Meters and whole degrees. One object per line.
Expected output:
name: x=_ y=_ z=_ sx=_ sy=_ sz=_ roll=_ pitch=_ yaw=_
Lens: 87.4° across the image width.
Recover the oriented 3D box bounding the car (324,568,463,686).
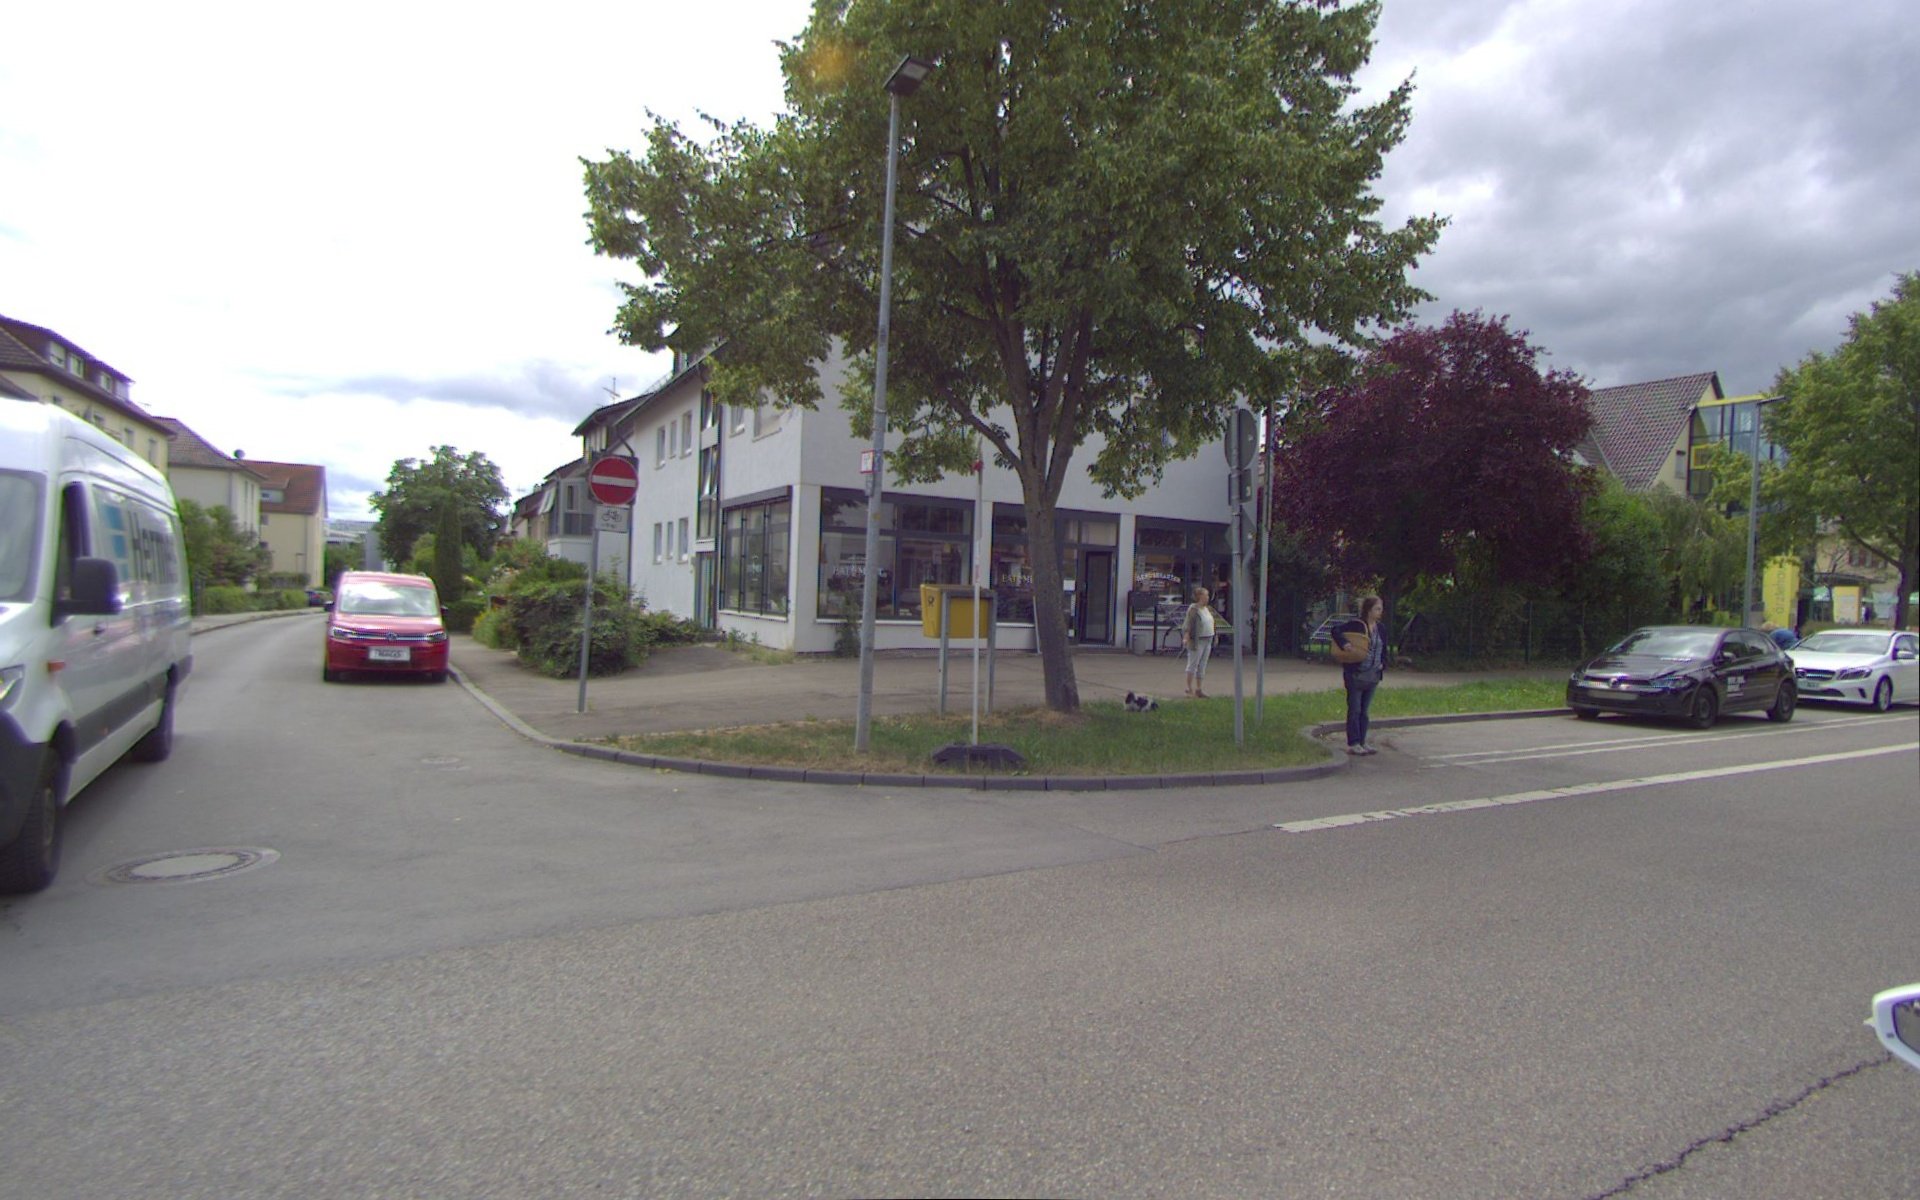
car: x=-10.098 y=0.444 z=17.747 sx=1.853 sy=1.801 sz=4.323 roll=3 pitch=-1 yaw=-32

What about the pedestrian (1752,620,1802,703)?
pedestrian: x=15.909 y=1.176 z=19.569 sx=0.572 sy=1.549 sz=0.698 roll=1 pitch=0 yaw=25

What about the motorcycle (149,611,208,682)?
motorcycle: x=-12.732 y=0.722 z=16.406 sx=0.475 sy=1.045 sz=2.102 roll=1 pitch=0 yaw=-30

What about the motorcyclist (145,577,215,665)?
motorcyclist: x=-12.716 y=0.335 z=16.396 sx=0.745 sy=1.383 sz=1.100 roll=1 pitch=0 yaw=-31

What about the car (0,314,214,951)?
car: x=-6.690 y=0.073 z=6.685 sx=2.196 sy=2.629 sz=7.247 roll=1 pitch=0 yaw=-32

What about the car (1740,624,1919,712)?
car: x=16.521 y=1.197 z=18.610 sx=4.247 sy=1.425 sz=1.707 roll=1 pitch=0 yaw=-28

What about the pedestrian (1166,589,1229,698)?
pedestrian: x=3.519 y=0.635 z=14.888 sx=0.796 sy=1.572 sz=0.428 roll=1 pitch=1 yaw=-30

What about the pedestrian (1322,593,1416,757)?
pedestrian: x=4.430 y=0.785 z=10.899 sx=0.739 sy=1.704 sz=0.541 roll=0 pitch=2 yaw=-21

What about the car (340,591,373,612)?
car: x=-45.791 y=0.099 z=76.273 sx=1.849 sy=1.496 sz=3.742 roll=1 pitch=0 yaw=-26

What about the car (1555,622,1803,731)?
car: x=10.966 y=1.086 z=15.255 sx=3.974 sy=1.439 sz=1.634 roll=1 pitch=-1 yaw=-31
